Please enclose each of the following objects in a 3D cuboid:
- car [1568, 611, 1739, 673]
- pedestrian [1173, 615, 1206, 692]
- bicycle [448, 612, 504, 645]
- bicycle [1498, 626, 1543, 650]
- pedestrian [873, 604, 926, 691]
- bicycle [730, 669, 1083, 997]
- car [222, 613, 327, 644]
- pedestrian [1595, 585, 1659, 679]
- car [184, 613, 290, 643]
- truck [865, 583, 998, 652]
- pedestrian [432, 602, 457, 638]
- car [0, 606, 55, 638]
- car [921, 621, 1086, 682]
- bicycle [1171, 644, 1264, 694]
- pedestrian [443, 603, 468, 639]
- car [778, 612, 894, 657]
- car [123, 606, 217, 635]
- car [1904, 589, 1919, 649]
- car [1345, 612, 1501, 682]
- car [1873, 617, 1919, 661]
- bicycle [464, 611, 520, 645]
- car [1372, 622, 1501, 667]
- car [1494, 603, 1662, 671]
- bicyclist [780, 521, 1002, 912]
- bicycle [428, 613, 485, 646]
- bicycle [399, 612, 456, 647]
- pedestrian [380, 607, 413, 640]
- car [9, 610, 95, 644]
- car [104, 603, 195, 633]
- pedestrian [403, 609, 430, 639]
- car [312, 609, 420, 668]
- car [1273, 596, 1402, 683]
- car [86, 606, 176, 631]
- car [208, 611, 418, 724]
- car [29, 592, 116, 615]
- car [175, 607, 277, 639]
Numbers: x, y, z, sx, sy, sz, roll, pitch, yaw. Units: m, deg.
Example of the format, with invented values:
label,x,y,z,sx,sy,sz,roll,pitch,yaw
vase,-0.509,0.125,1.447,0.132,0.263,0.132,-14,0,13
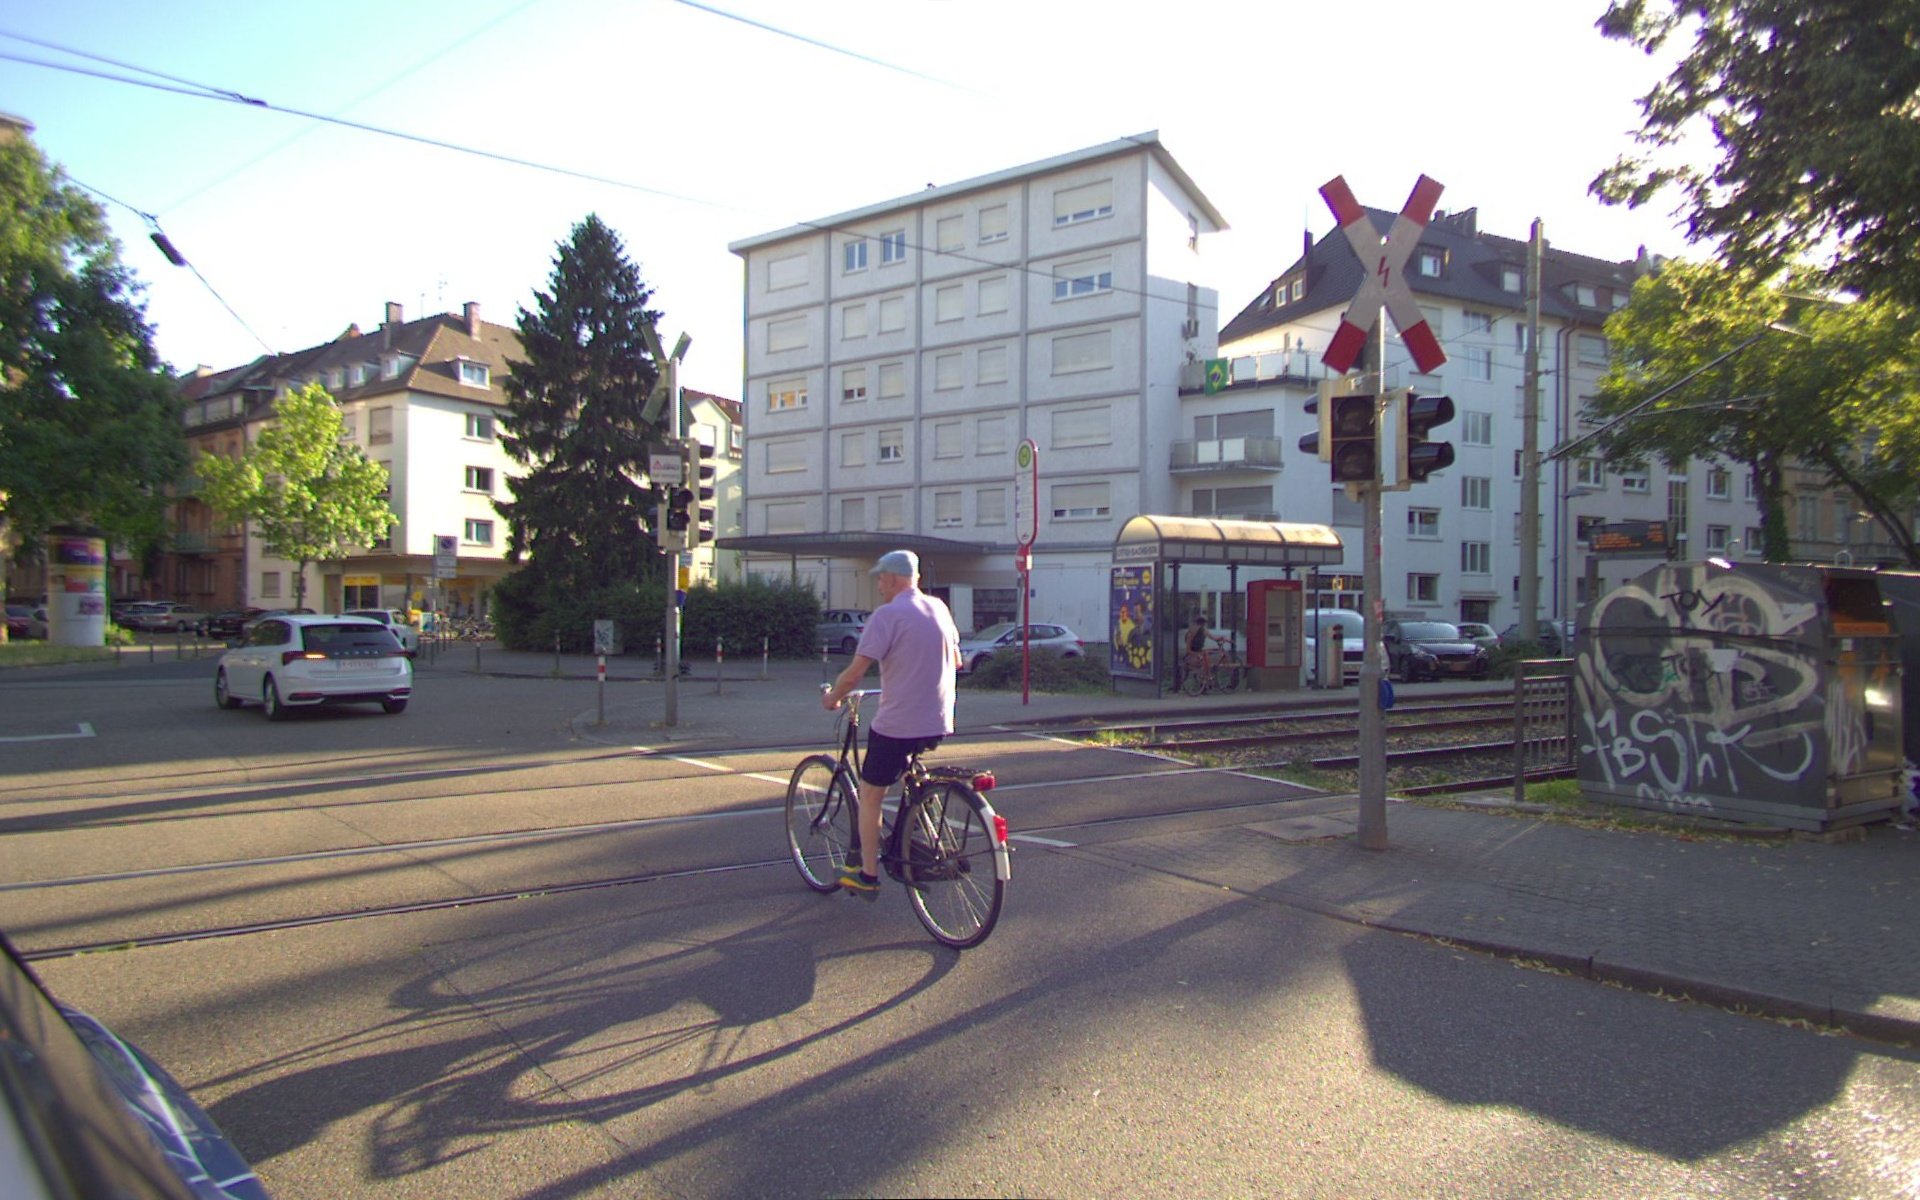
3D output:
label,x,y,z,sx,sy,sz,roll,pitch,yaw
car,18.354,1.185,27.066,1.585,1.470,4.239,-1,-4,1
pedestrian,3.969,0.910,17.511,0.444,1.311,0.339,0,-1,-26
bicycle,-22.818,1.338,47.698,3.372,1.456,0.870,1,0,36
bicycle,24.412,1.662,44.066,2.138,1.011,0.535,0,-1,-24
pedestrian,-1.264,0.957,21.014,0.855,1.749,0.833,0,0,-24
bicycle,-0.373,0.922,4.765,0.689,1.062,2.129,1,-1,-33
car,-33.166,1.350,49.087,1.856,1.410,3.980,0,-1,15
pedestrian,14.157,0.669,21.494,0.824,1.925,0.853,1,-1,-33
car,-35.506,1.342,49.838,1.856,1.410,3.980,0,-1,15
truck,-1.138,0.678,39.495,4.957,2.554,1.978,0,-1,33
pedestrian,-27.498,1.070,54.030,0.849,1.889,0.881,-1,-1,32
car,-43.420,0.994,46.490,3.989,1.410,1.852,-1,-1,34
car,1.136,1.284,26.115,3.931,1.457,1.721,0,-2,-28
bicycle,4.385,1.168,17.240,1.614,0.789,0.452,0,-1,-25
pedestrian,-26.774,1.095,53.697,0.849,1.889,0.881,-1,-1,32
car,-4.574,1.223,37.100,3.992,1.544,1.976,-1,-1,36
car,-42.989,1.096,55.180,1.849,1.516,3.996,0,-1,3
car,49.142,0.880,49.164,5.386,2.909,2.569,0,-2,-21
car,10.589,1.152,23.498,1.677,1.448,4.203,-1,-4,1
car,33.974,1.272,34.557,1.834,1.484,4.234,-2,-4,5
bicycle,-22.562,1.324,48.793,3.373,1.456,0.870,2,0,36
car,16.426,1.496,34.904,3.931,1.457,1.722,0,-2,-21
car,15.431,1.011,25.564,1.585,1.519,4.239,-1,-4,1
bicyclist,-0.338,0.481,4.704,0.689,1.600,0.876,1,-1,-33
bicycle,-23.228,1.339,46.674,3.372,1.456,0.870,1,0,36
bicycle,-24.019,1.296,45.608,3.372,1.456,0.870,1,0,36
pedestrian,-28.954,1.216,52.019,0.961,1.679,1.201,-1,-1,33
car,-39.201,1.122,43.660,3.989,1.410,1.852,-1,-1,34
car,-45.630,0.991,57.073,1.849,1.648,3.996,0,-1,3
pedestrian,-28.657,1.243,53.364,0.889,1.581,0.953,-1,-1,34
car,-16.370,1.005,28.118,1.890,1.461,4.310,-1,0,-21
car,8.013,0.931,21.869,1.588,1.665,4.231,-2,-4,7
car,-47.918,1.053,58.607,1.849,1.410,3.996,0,-1,3
car,-9.800,0.913,15.202,4.062,1.468,1.683,-1,-1,43
car,-55.181,0.222,63.009,1.849,1.410,3.996,0,-1,3
car,-37.808,1.148,52.240,1.858,1.580,3.977,0,-1,18
